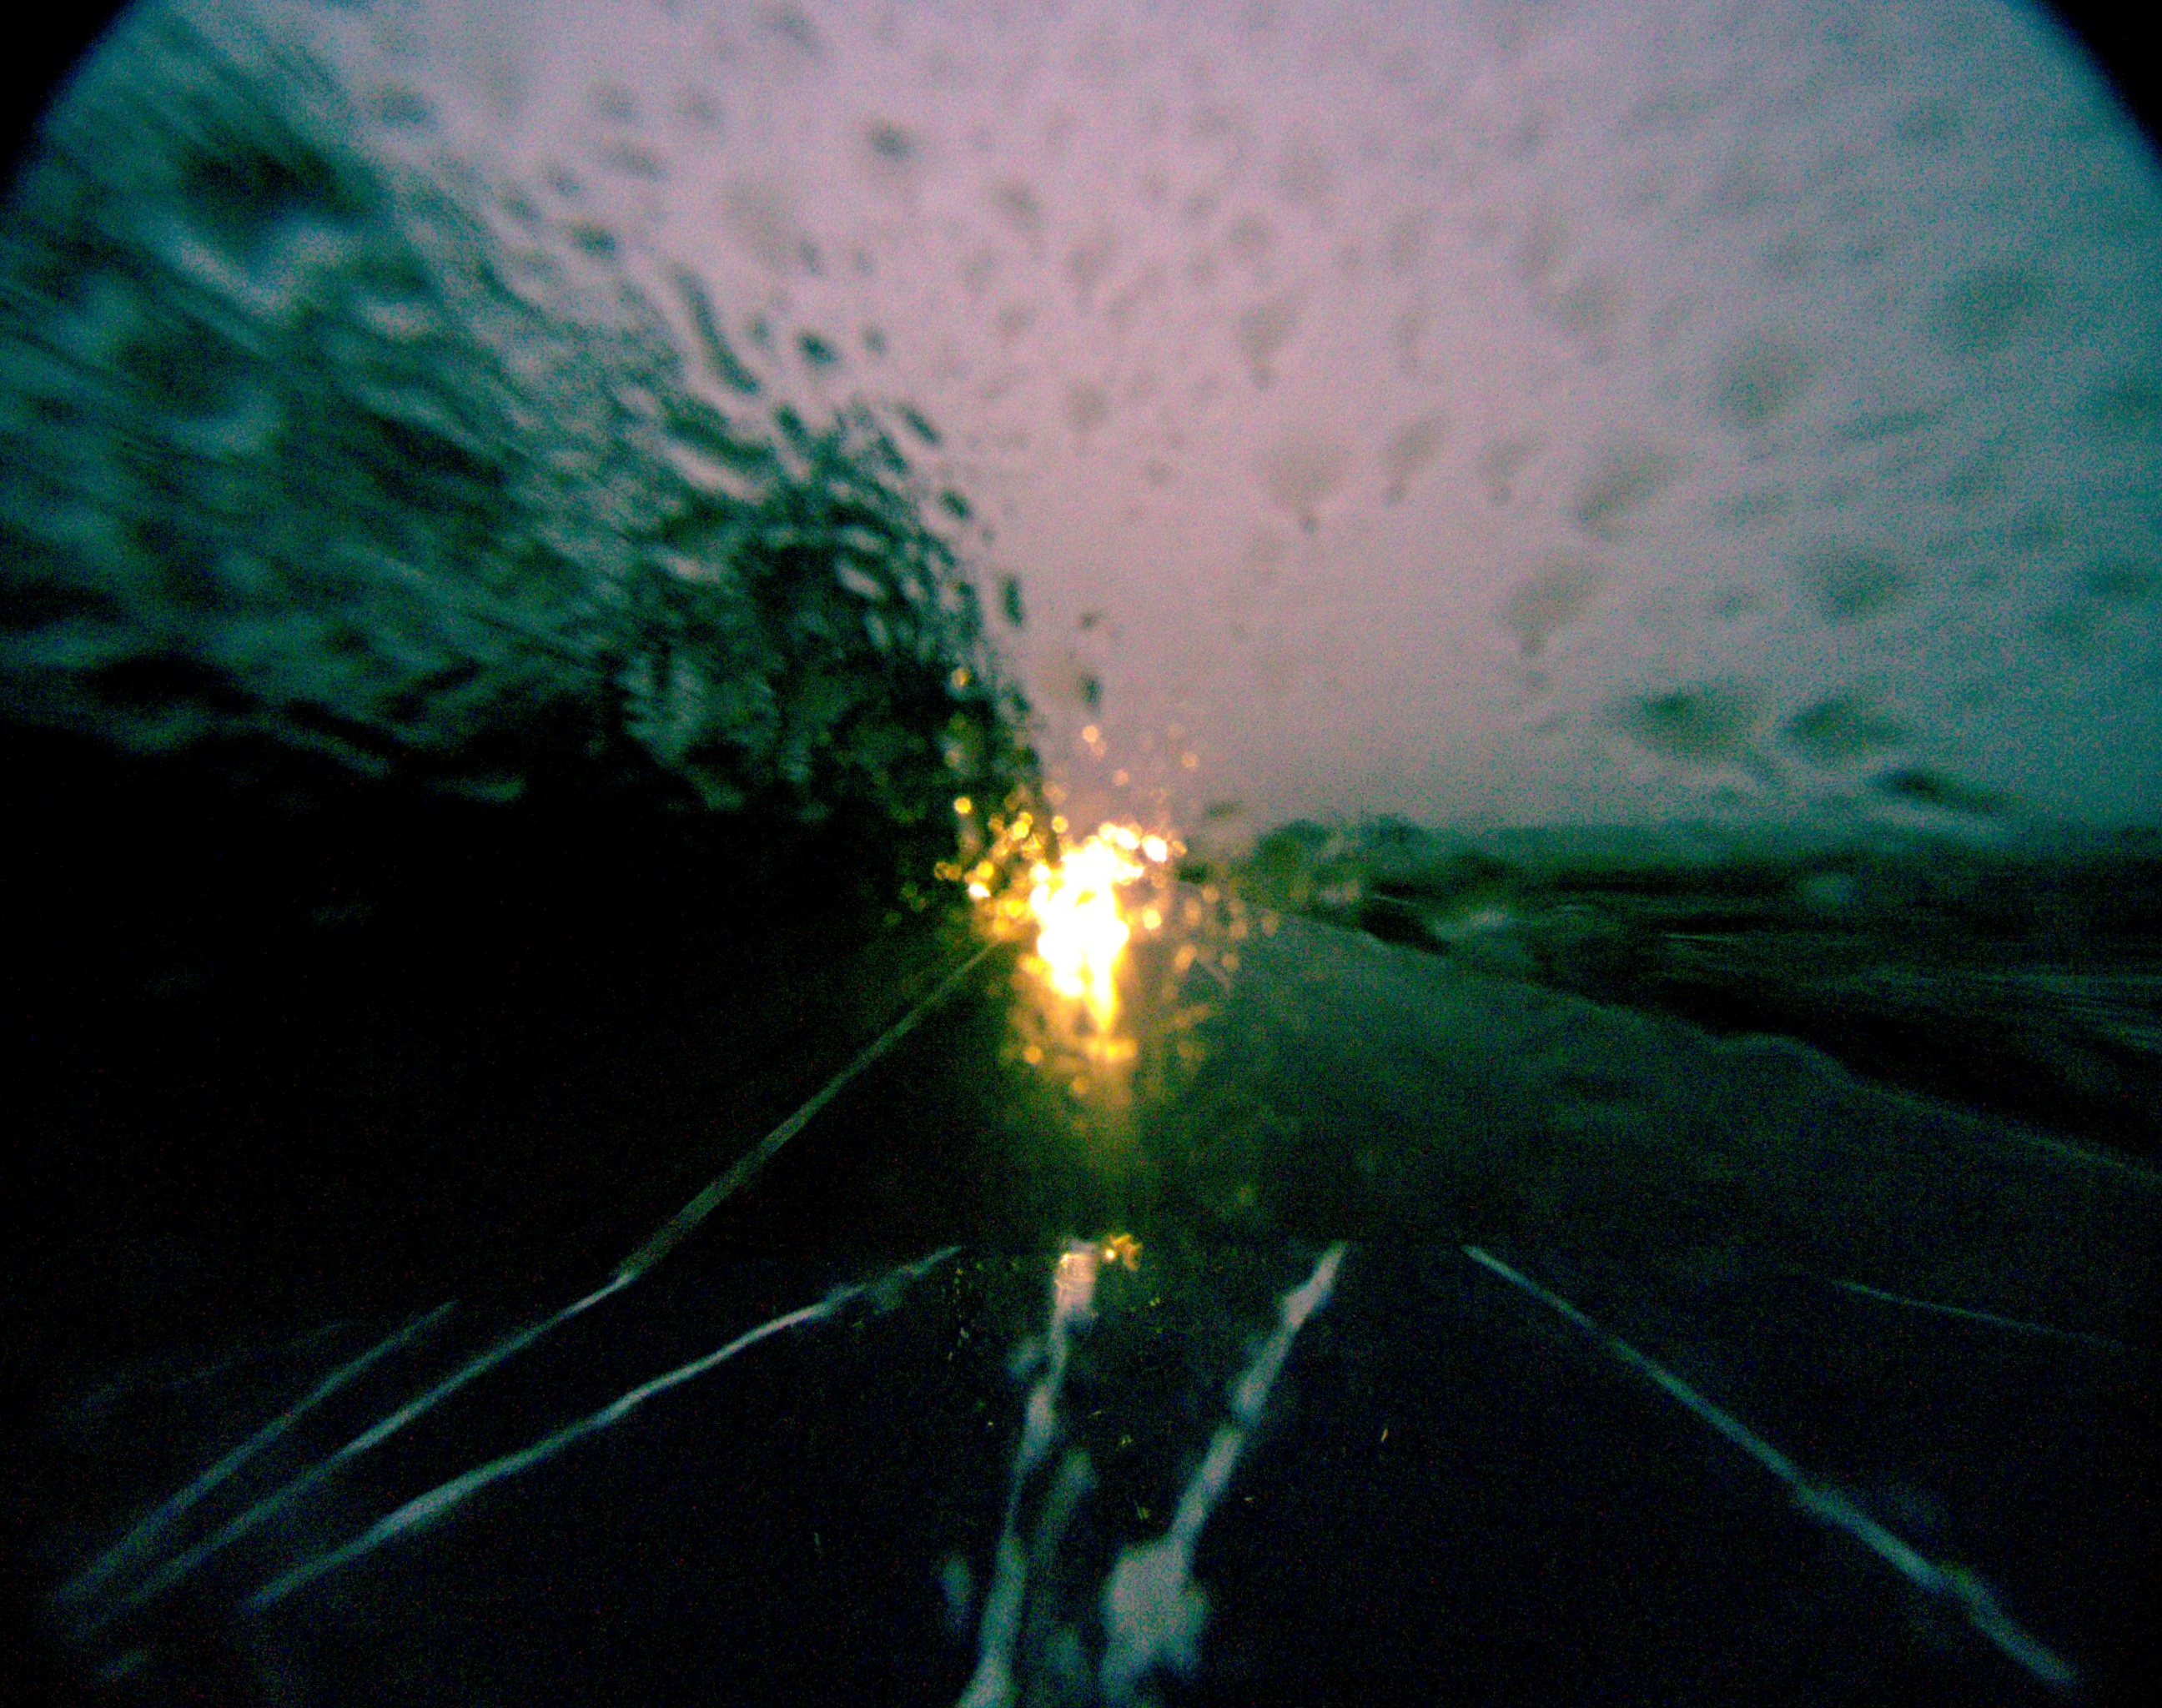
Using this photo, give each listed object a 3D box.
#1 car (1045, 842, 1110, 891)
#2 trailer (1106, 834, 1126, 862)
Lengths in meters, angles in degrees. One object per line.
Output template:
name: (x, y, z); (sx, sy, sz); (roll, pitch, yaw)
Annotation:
car: (-0.052, 0.504, 35.428); (2.704, 1.974, 5.804); (-2, 1, 2)
trailer: (5.279, -0.946, 116.971); (2.708, 4.056, 12.381); (-1, 0, 1)
